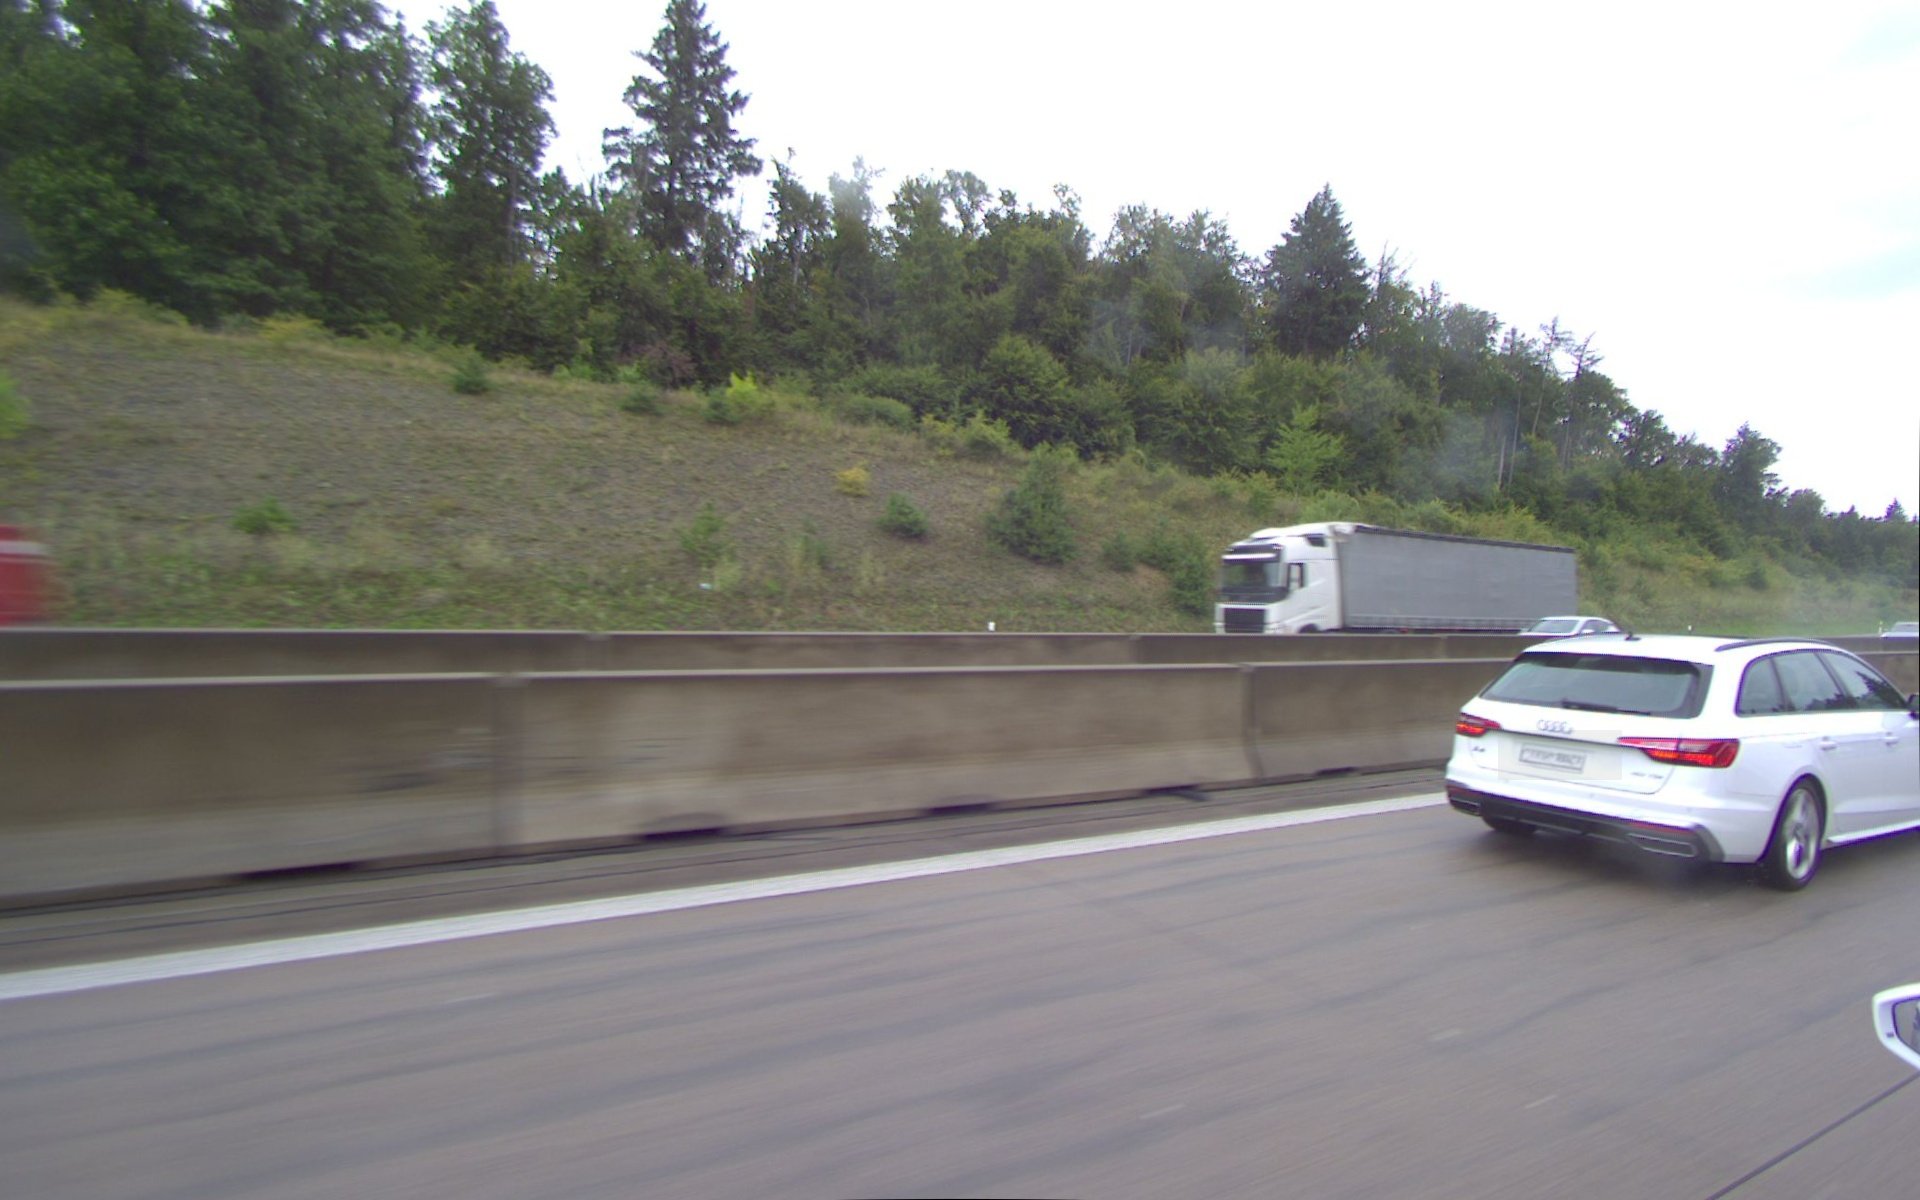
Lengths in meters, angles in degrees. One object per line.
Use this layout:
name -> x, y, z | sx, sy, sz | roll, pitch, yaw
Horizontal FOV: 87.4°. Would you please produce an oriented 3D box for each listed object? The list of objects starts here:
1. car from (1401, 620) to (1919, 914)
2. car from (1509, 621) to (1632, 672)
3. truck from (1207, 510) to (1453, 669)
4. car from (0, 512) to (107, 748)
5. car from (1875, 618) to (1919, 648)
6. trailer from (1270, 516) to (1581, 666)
car -> 5.357, 0.898, 6.920 | 4.877, 1.425, 1.704 | 2, -1, -30
car -> 18.253, 1.369, 29.989 | 3.958, 1.411, 1.612 | 1, -1, -34
truck -> 11.529, -0.198, 30.938 | 8.225, 4.341, 2.729 | 1, -1, -33
car -> -11.092, 0.221, 8.719 | 5.268, 2.110, 1.985 | 1, -1, -30
car -> 47.750, 1.660, 50.523 | 3.958, 1.411, 1.612 | 1, -1, -34
trailer -> 16.142, -0.103, 33.956 | 13.568, 4.341, 2.729 | 1, -1, -33
